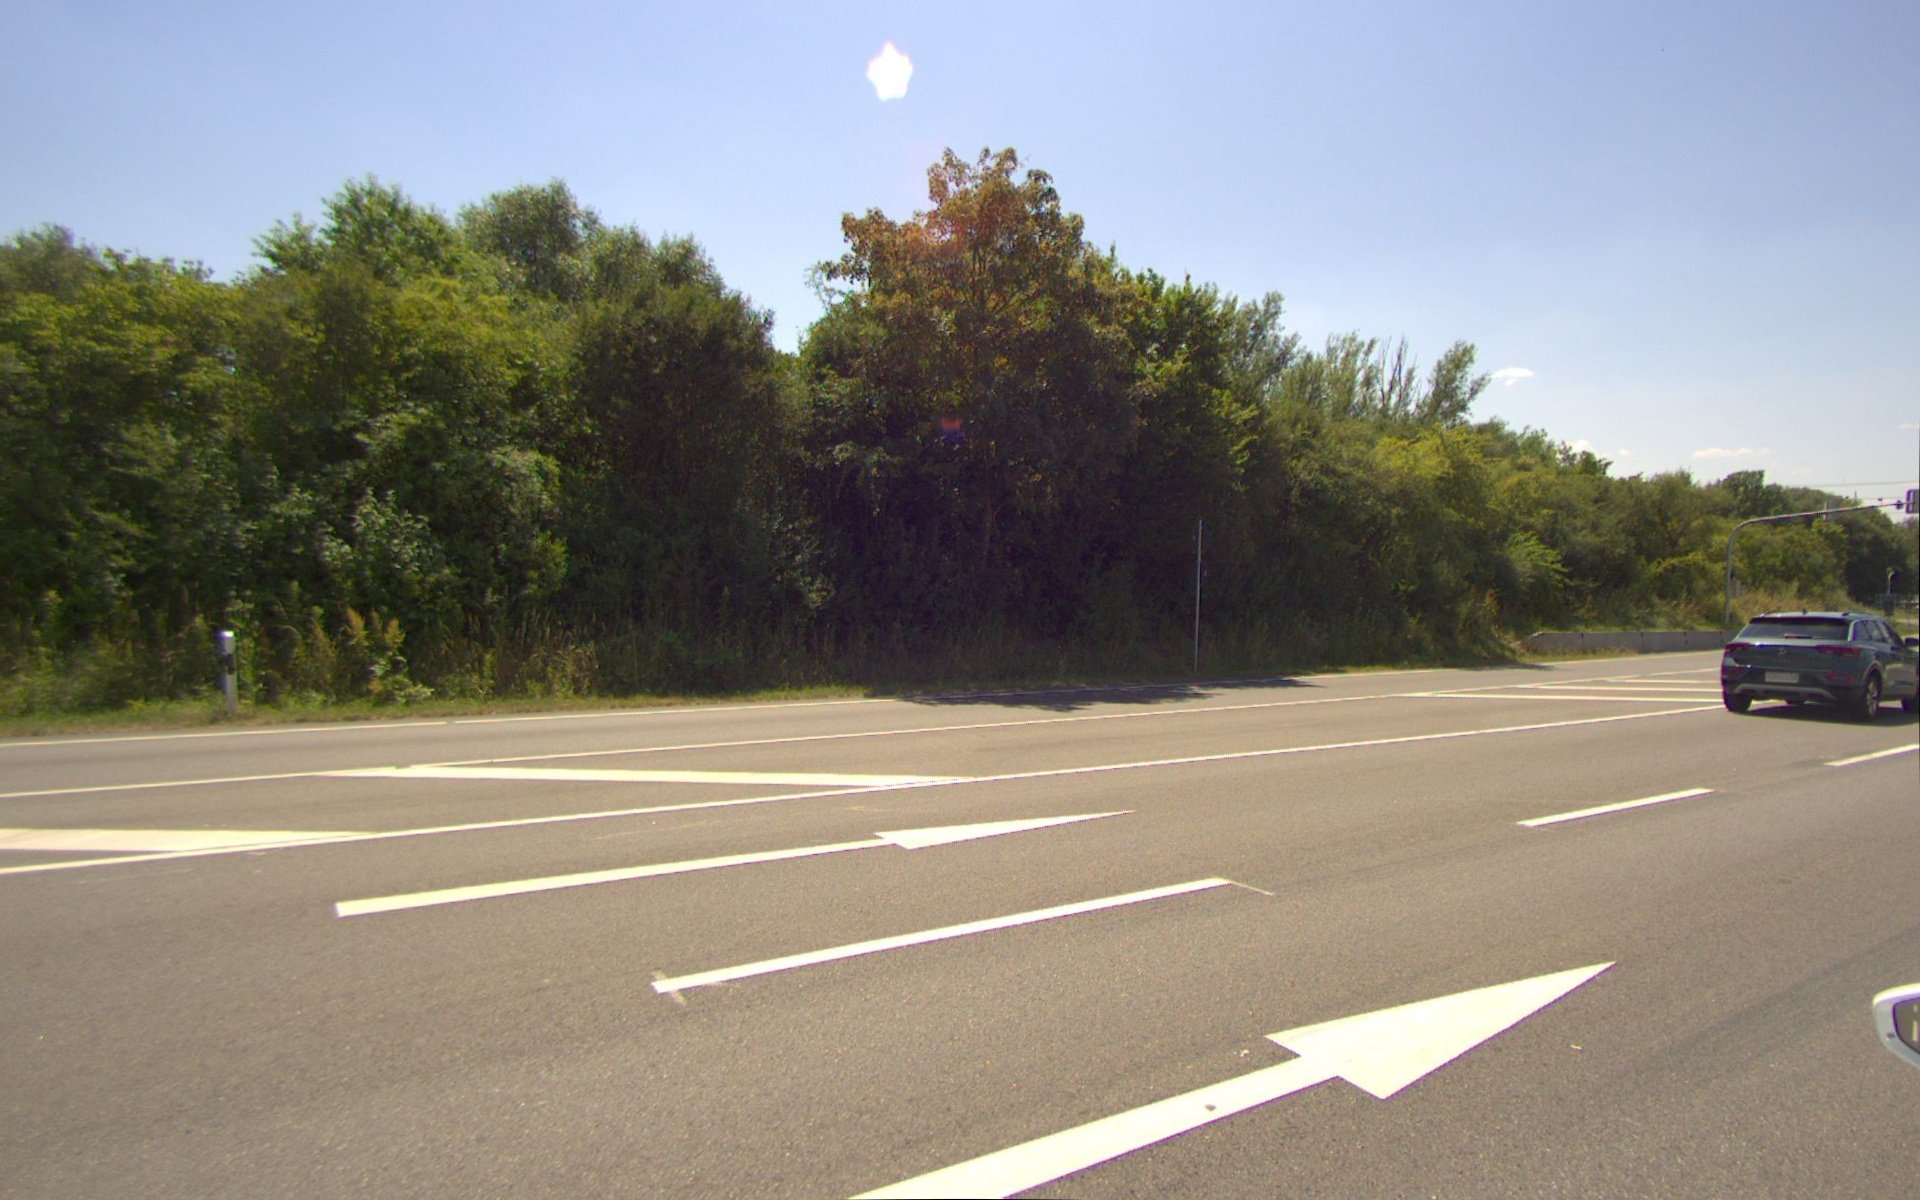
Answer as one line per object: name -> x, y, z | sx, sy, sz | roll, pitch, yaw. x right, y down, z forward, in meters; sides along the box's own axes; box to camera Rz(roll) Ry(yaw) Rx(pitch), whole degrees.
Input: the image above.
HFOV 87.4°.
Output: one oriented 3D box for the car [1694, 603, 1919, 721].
car -> 13.523, 0.888, 15.792 | 4.345, 1.608, 1.823 | 1, 0, -34
